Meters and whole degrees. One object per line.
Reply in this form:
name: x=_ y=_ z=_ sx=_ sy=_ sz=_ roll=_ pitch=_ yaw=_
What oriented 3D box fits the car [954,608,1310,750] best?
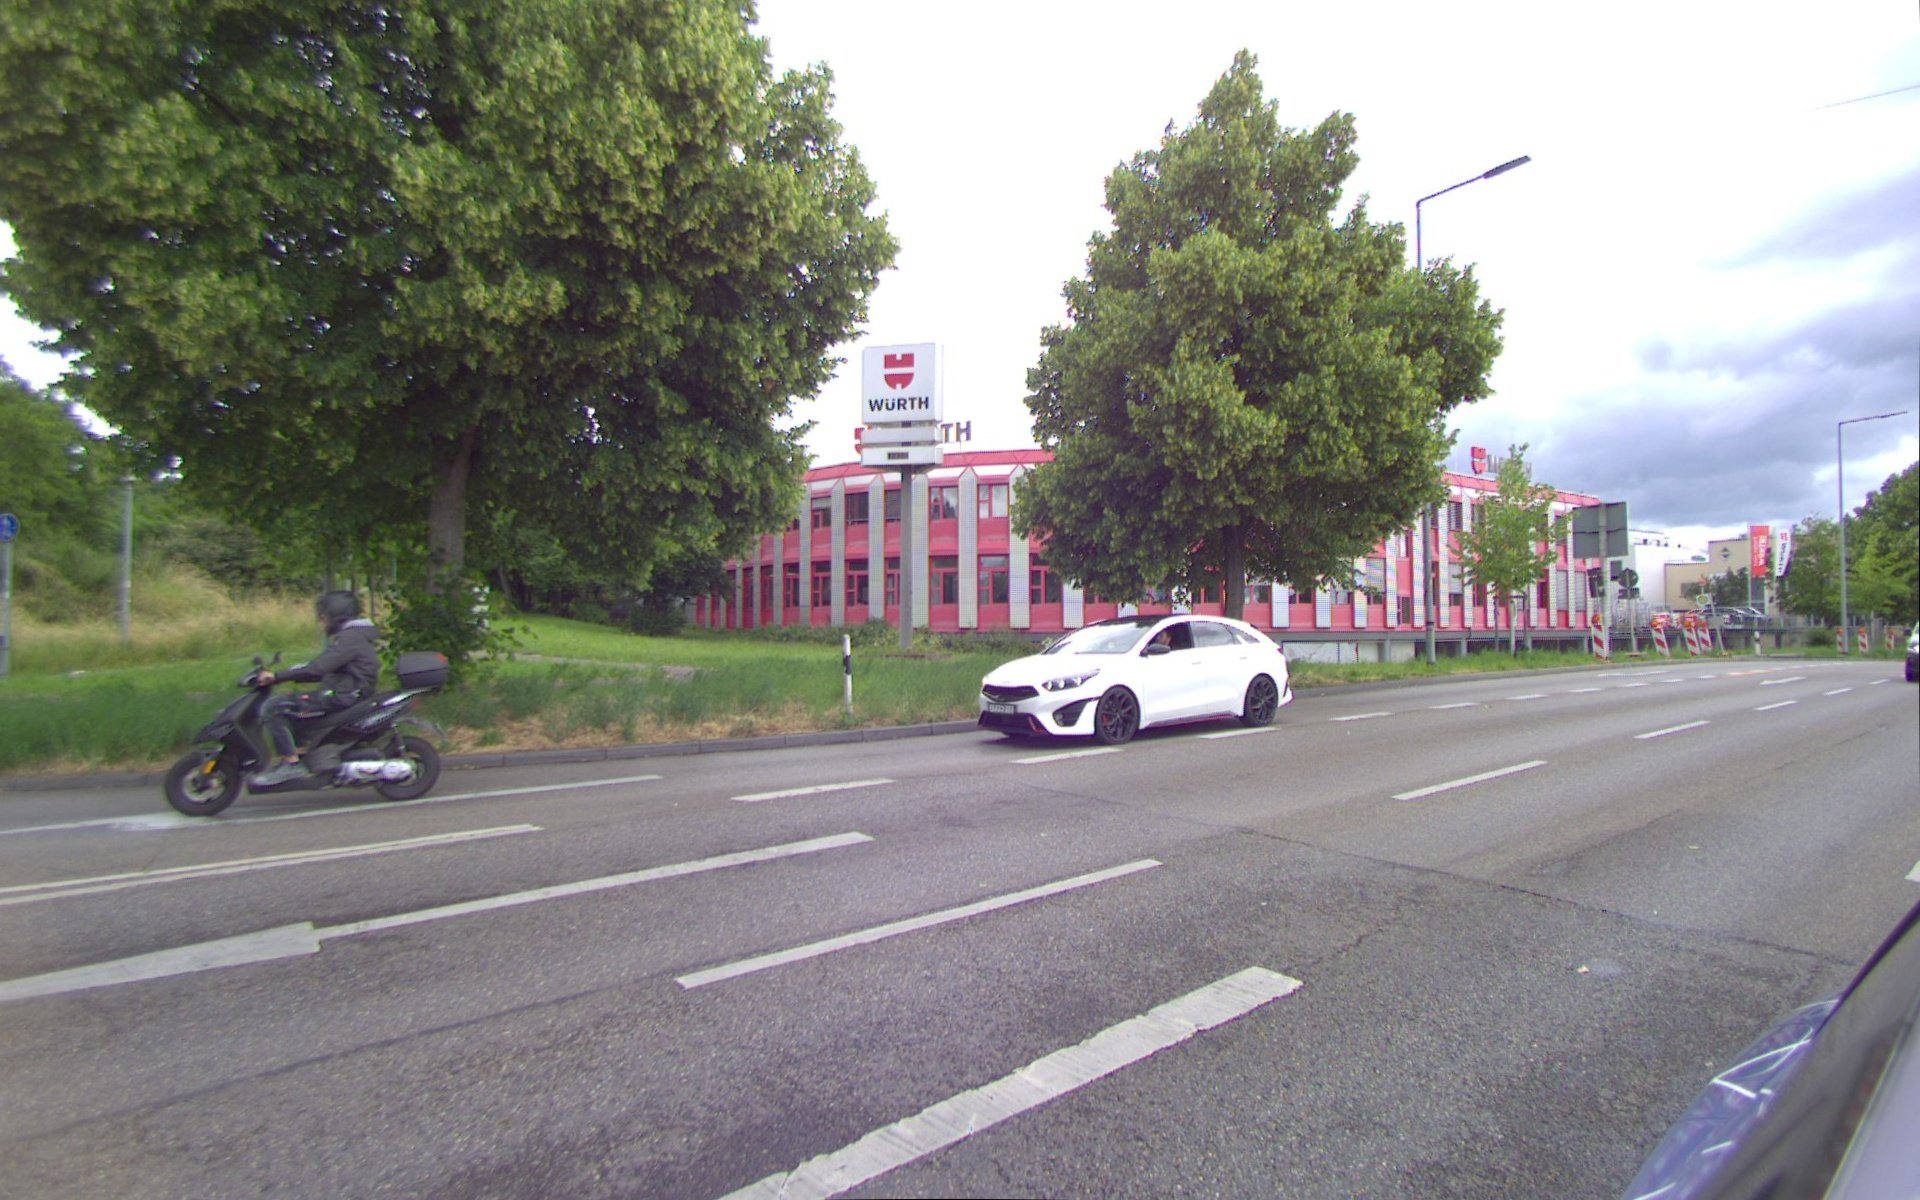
car: x=2.203 y=0.818 z=12.297 sx=4.398 sy=1.379 sz=1.785 roll=-1 pitch=-1 yaw=-38

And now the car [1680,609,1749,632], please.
car: x=61.798 y=1.672 z=82.960 sx=1.752 sy=1.776 sz=4.247 roll=0 pitch=0 yaw=-39

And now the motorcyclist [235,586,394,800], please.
motorcyclist: x=-4.862 y=0.671 z=7.696 sx=0.914 sy=1.510 sz=0.751 roll=1 pitch=-3 yaw=-27

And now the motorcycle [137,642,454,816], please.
motorcycle: x=-4.905 y=0.909 z=7.663 sx=1.903 sy=1.162 sz=0.751 roll=1 pitch=-3 yaw=-27

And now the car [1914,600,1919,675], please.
car: x=24.948 y=0.902 z=24.690 sx=4.173 sy=1.776 sz=1.783 roll=0 pitch=0 yaw=-37
